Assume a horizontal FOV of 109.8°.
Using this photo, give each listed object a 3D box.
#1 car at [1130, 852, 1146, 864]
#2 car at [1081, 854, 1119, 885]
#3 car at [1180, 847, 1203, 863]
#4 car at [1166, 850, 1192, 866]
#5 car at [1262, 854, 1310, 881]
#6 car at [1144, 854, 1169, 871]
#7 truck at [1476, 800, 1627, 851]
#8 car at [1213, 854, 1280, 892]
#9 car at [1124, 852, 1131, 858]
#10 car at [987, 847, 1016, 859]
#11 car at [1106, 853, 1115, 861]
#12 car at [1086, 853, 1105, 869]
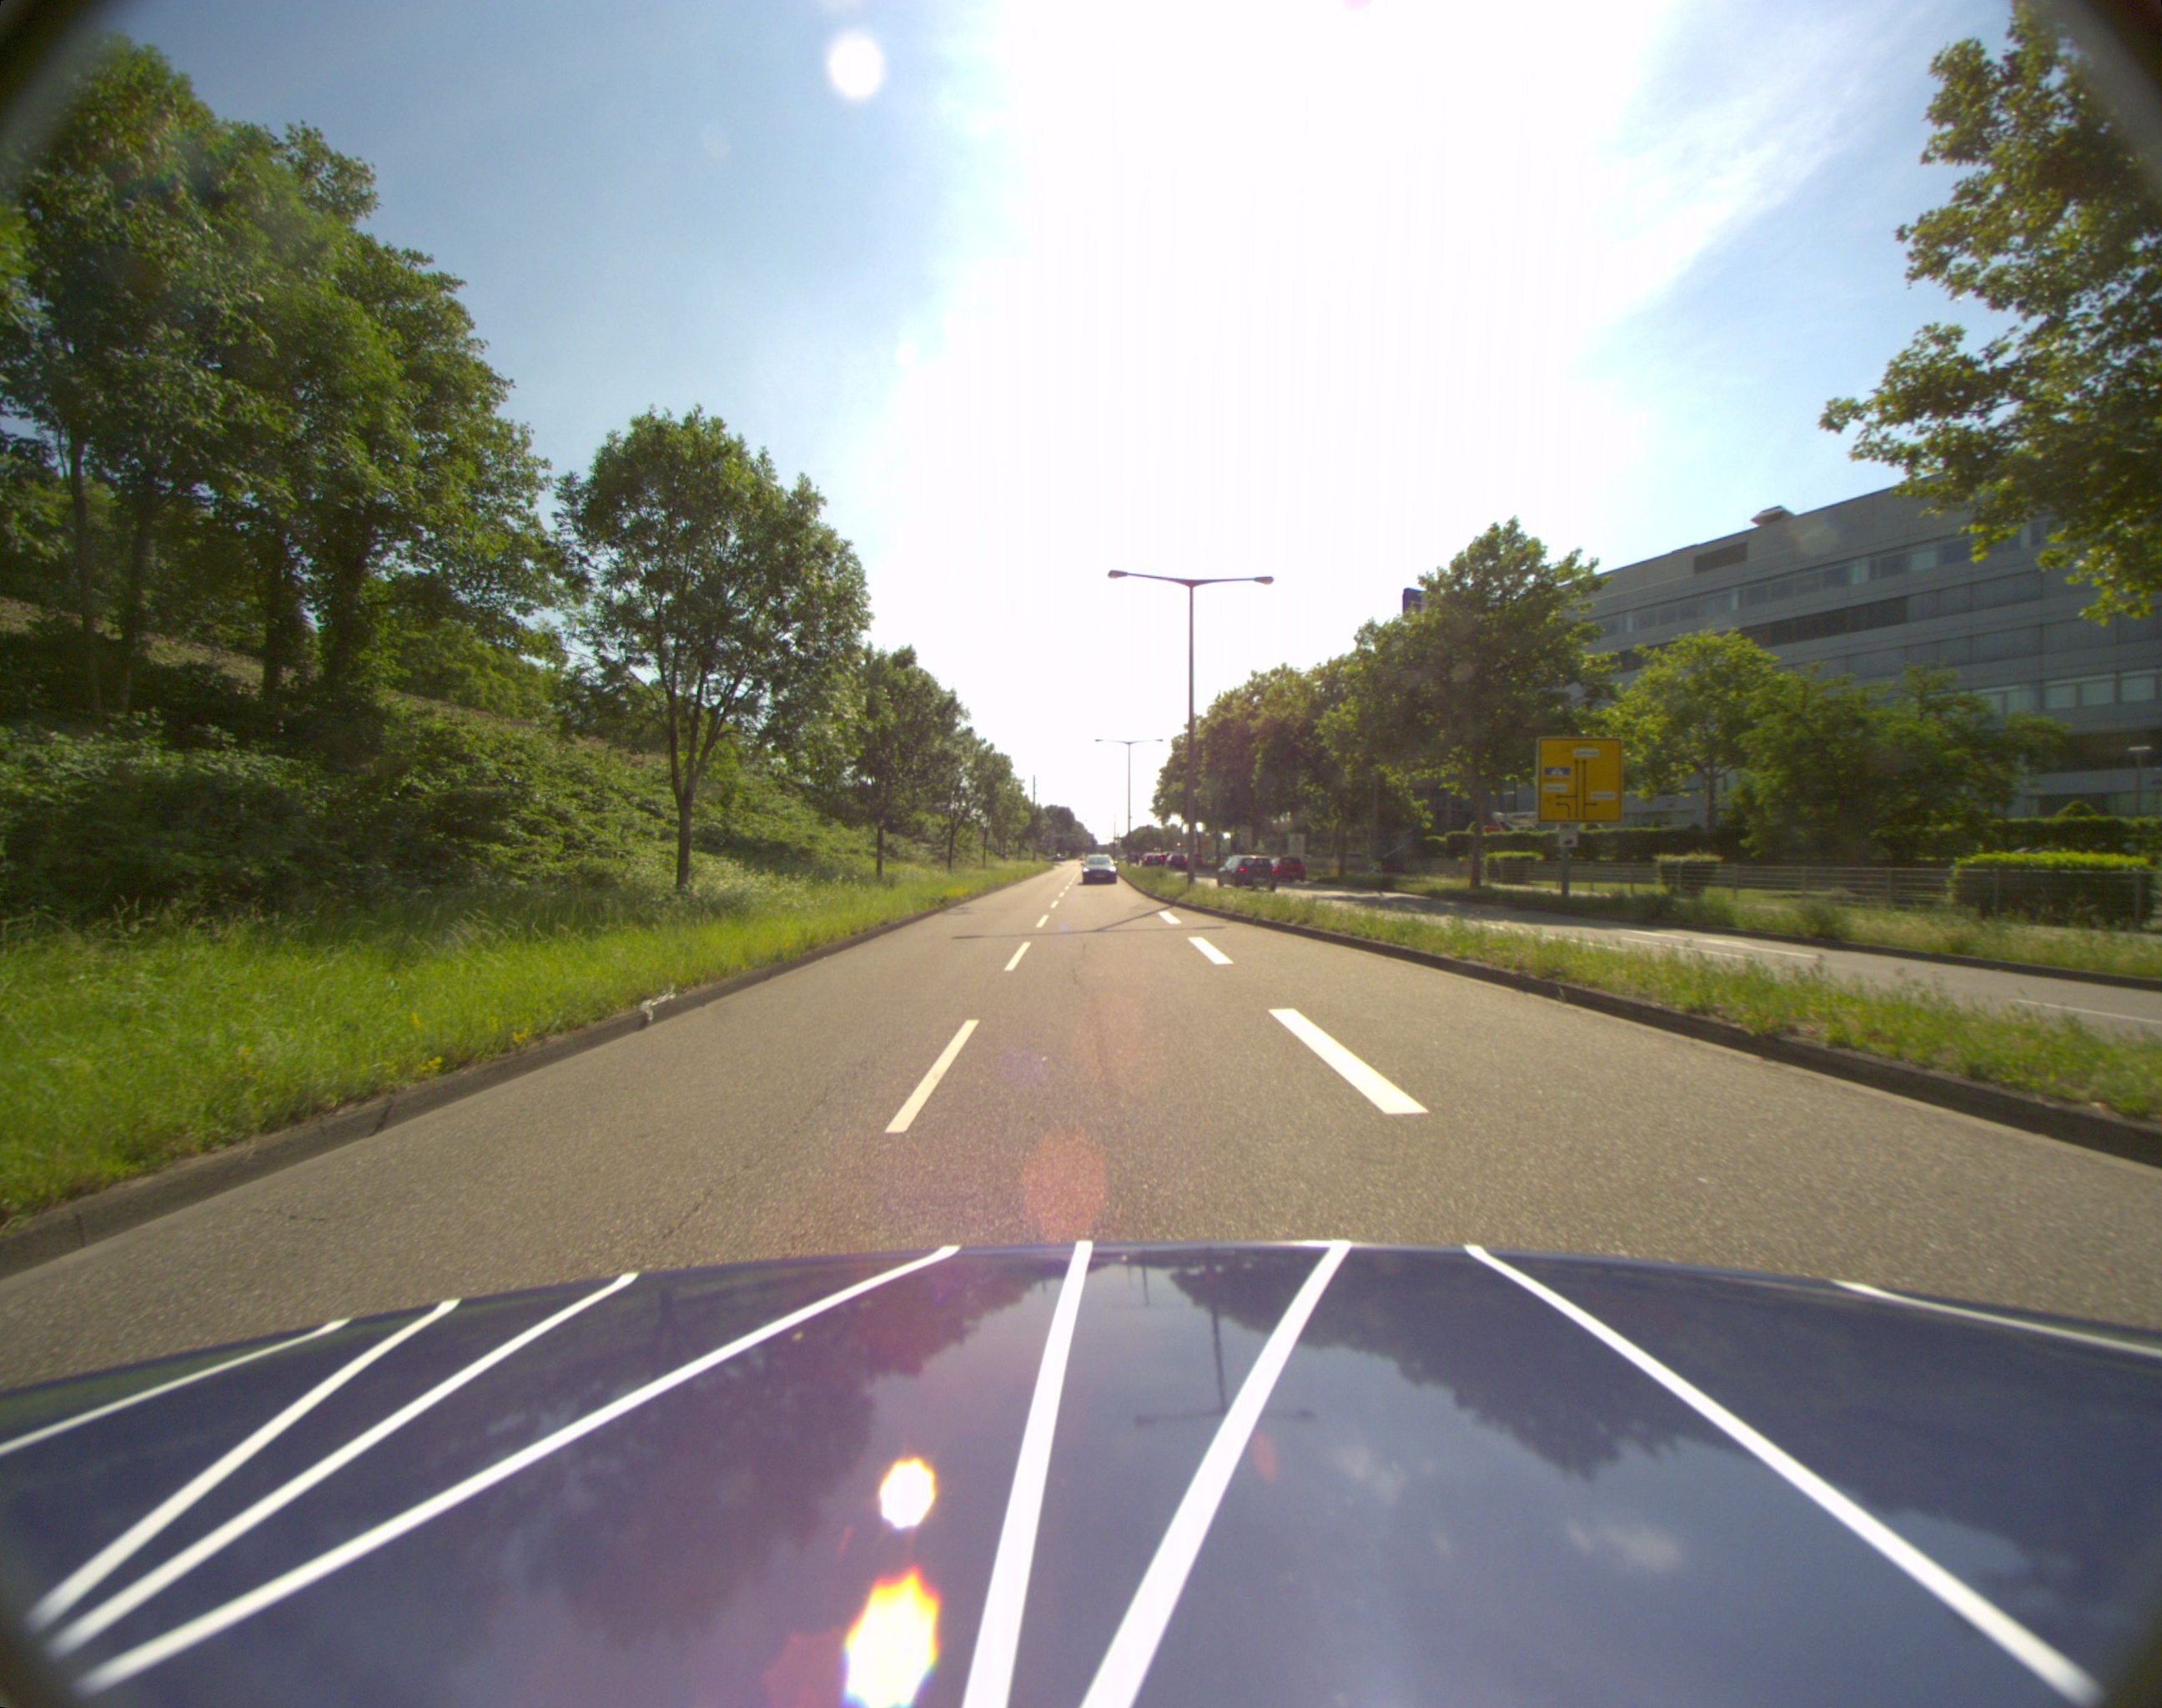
[{"bbox_3d":[7.729,0.585,103.981,1.812,1.606,4.491,0,0,-1],"label":"car"},{"bbox_3d":[0.929,0.747,38.895,1.827,1.497,4.216,0,0,0],"label":"car"},{"bbox_3d":[12.632,0.148,87.237,1.998,1.824,4.651,1,0,0],"label":"car"},{"bbox_3d":[9.558,0.382,74.669,1.832,1.459,4.987,0,0,-1],"label":"car"},{"bbox_3d":[12.034,0.762,44.913,1.768,1.454,4.000,1,0,1],"label":"car"},{"bbox_3d":[6.530,0.726,66.337,1.777,1.459,4.671,1,0,1],"label":"car"},{"bbox_3d":[33.739,-1.915,54.973,2.678,3.376,8.965,0,0,-36],"label":"truck"},{"bbox_3d":[6.952,0.754,32.315,1.844,1.470,4.165,0,0,-1],"label":"car"},{"bbox_3d":[14.887,0.380,244.764,1.998,1.713,5.169,-1,-2,6],"label":"car"},{"bbox_3d":[-13.824,-0.119,132.296,4.728,2.001,1.996,0,-2,-28],"label":"car"},{"bbox_3d":[6.814,0.702,172.699,1.714,1.498,4.004,-1,-2,6],"label":"car"},{"bbox_3d":[1.606,0.755,84.729,1.998,1.699,4.431,0,0,0],"label":"car"}]
